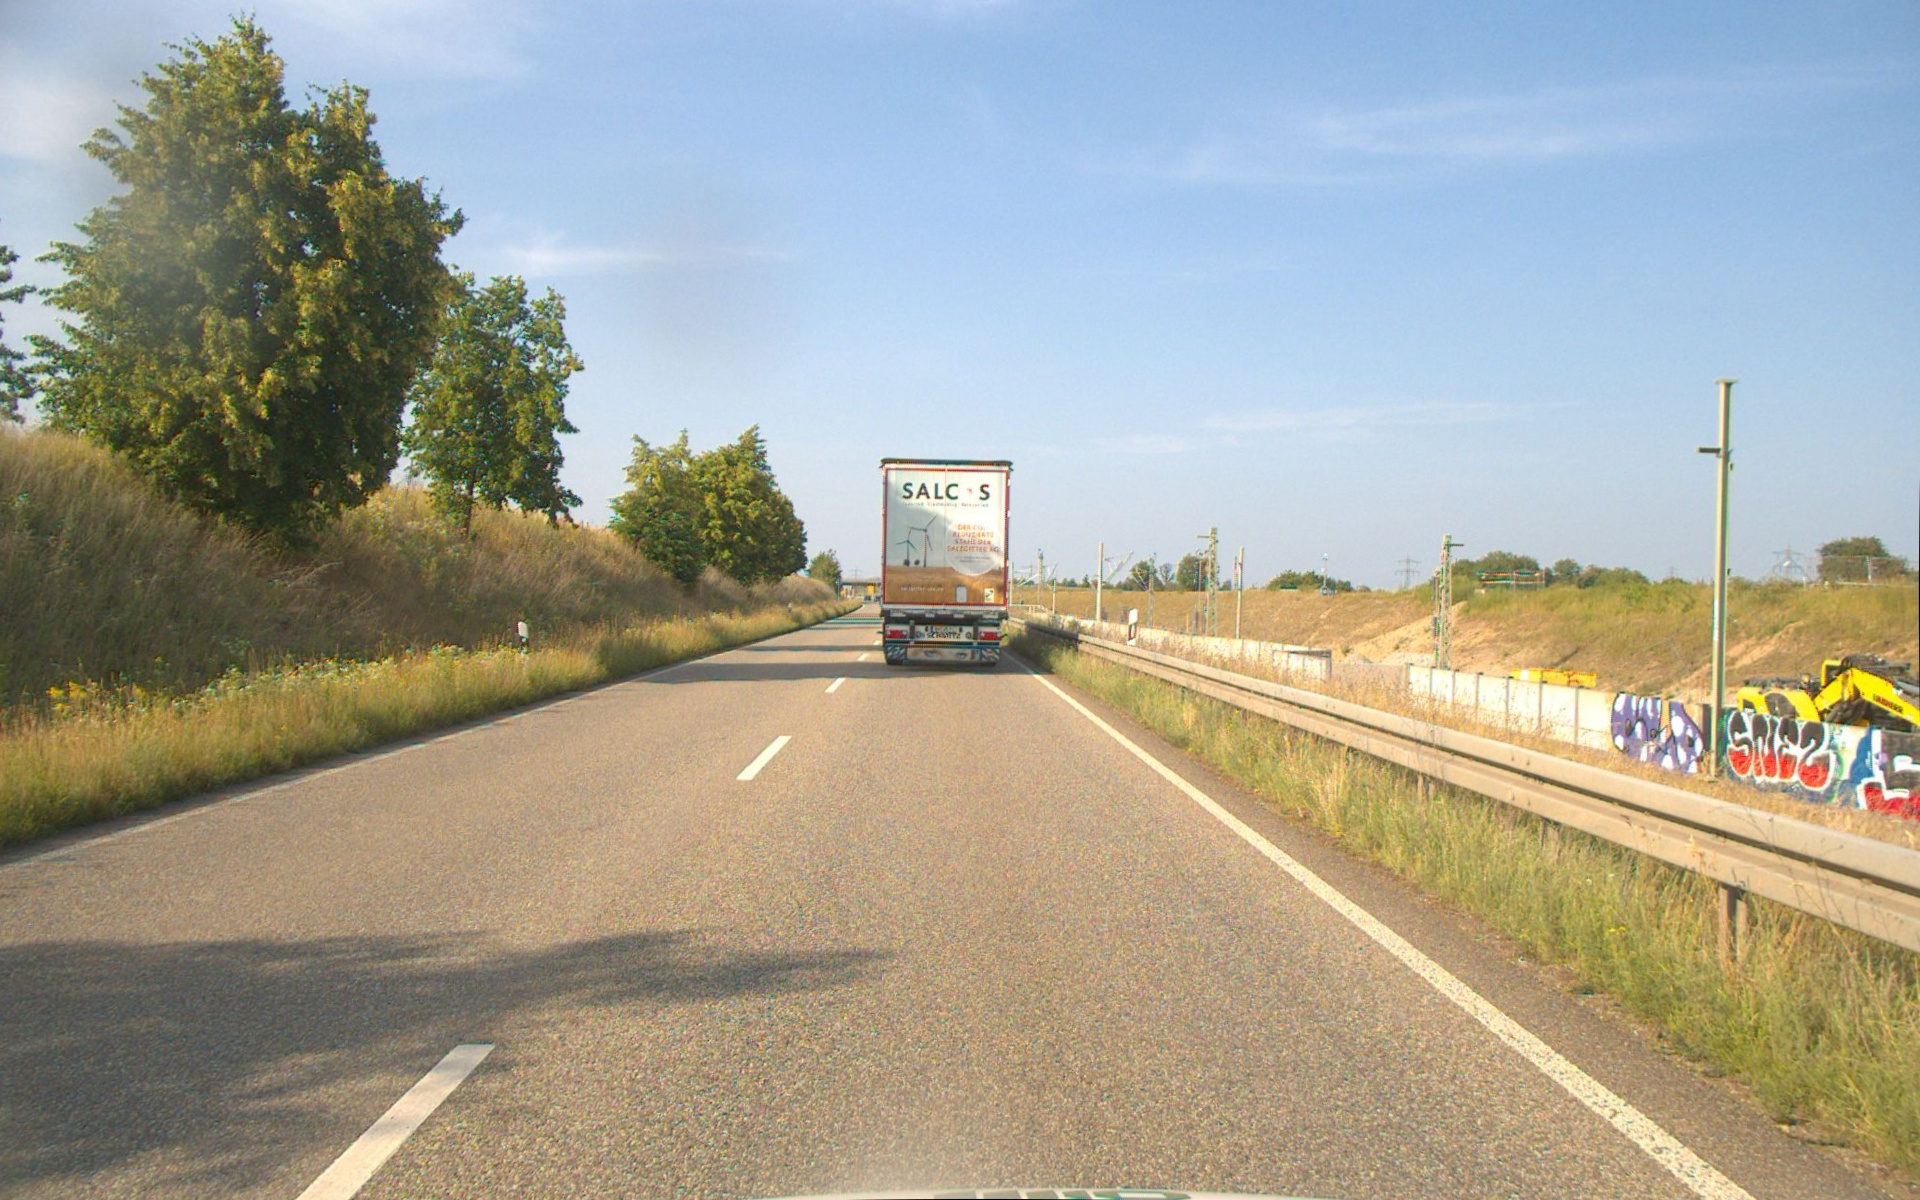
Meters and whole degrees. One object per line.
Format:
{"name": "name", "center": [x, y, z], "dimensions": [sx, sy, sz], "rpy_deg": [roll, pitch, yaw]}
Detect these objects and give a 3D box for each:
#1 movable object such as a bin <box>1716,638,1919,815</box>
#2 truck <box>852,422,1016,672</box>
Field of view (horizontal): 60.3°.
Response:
{"name": "movable object such as a bin", "center": [20.152, 2.633, 36.964], "dimensions": [2.568, 3.296, 8.071], "rpy_deg": [1, 0, -2]}
{"name": "truck", "center": [-0.527, -1.026, 36.011], "dimensions": [3.088, 4.770, 8.440], "rpy_deg": [1, 0, 0]}
